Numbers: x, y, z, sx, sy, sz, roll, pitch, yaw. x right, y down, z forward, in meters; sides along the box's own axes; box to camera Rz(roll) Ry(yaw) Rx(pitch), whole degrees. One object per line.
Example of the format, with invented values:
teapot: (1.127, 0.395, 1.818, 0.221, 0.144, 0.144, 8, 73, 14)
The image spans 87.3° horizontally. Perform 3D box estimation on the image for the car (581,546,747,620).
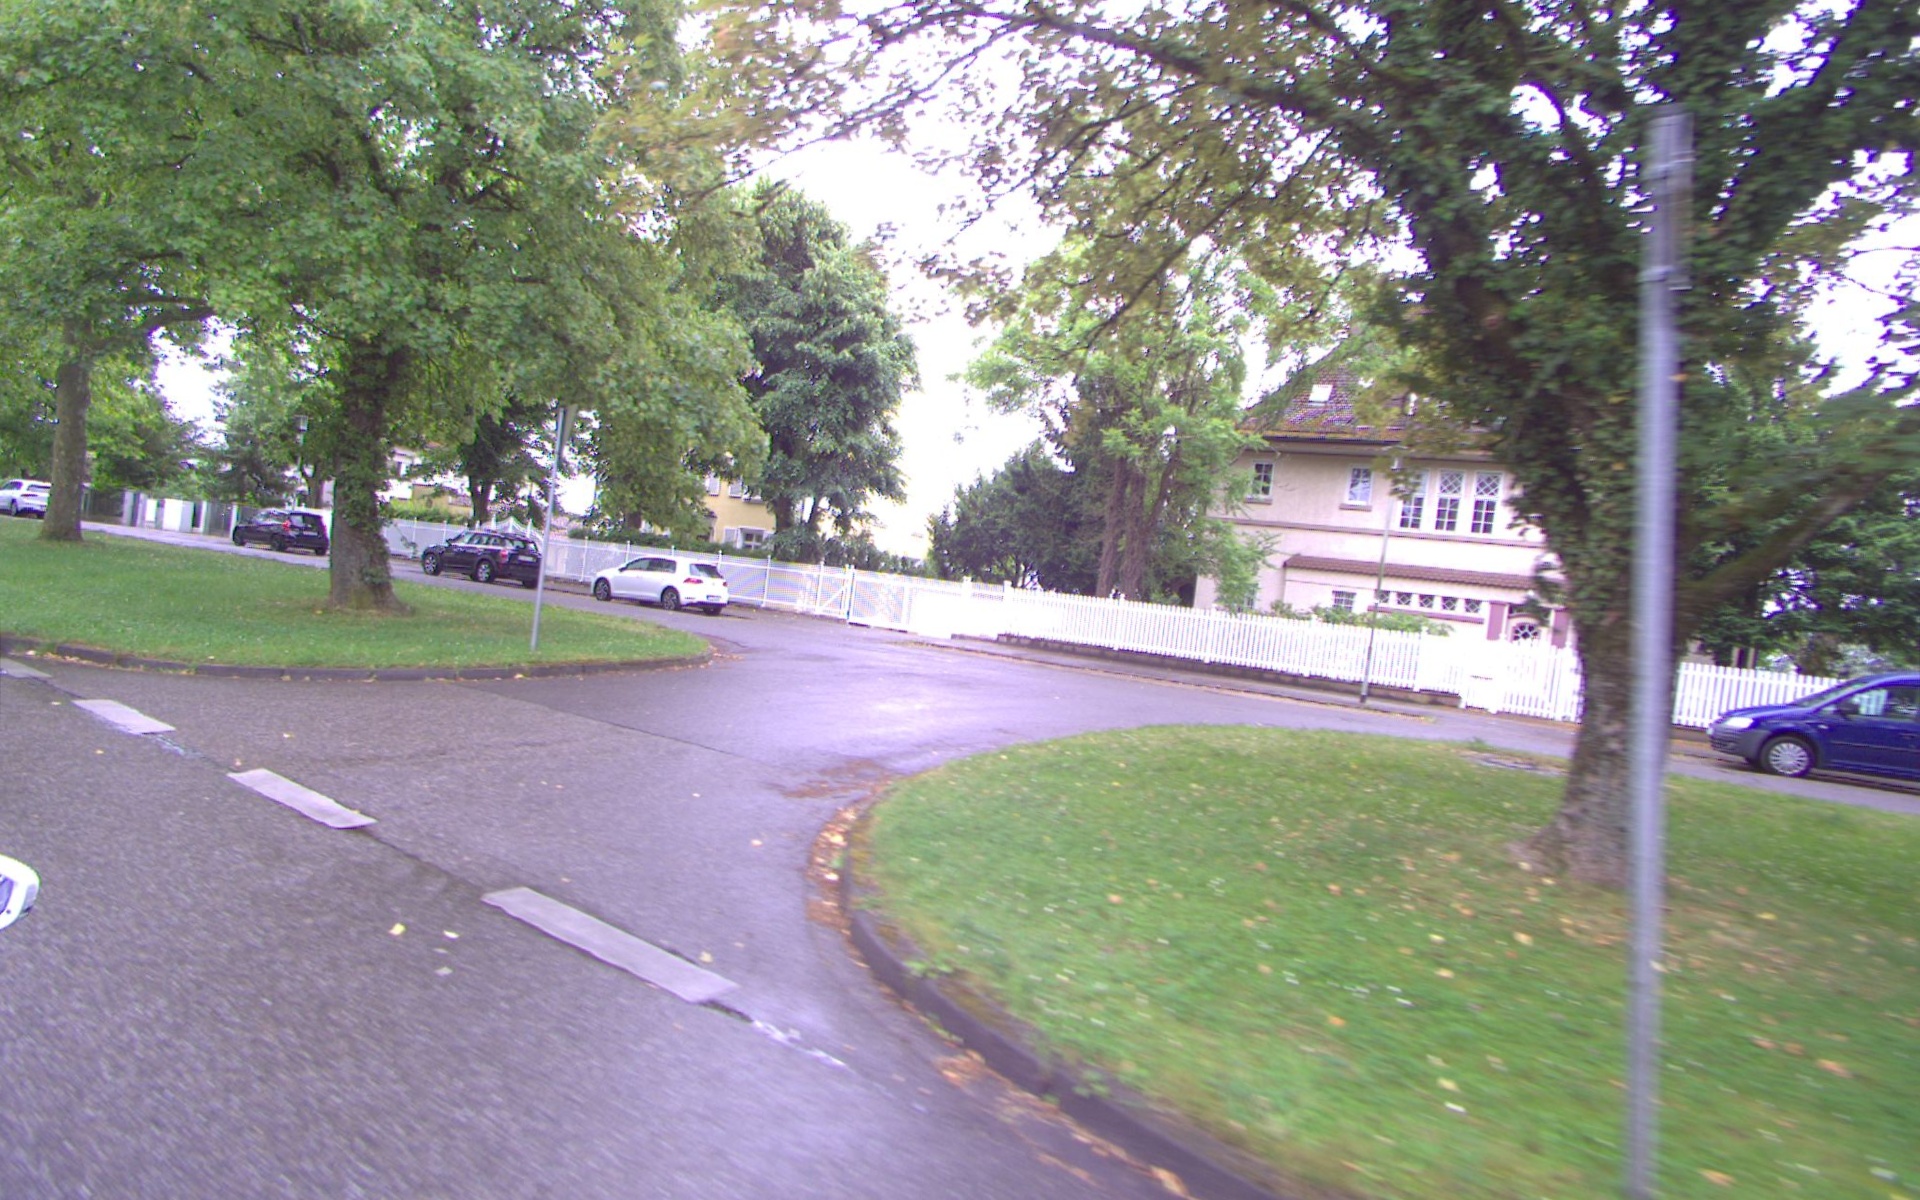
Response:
car: (-8.172, -0.462, 27.748, 4.053, 1.465, 1.999, 6, -2, 29)

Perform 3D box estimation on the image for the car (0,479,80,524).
car: (-37.853, -4.049, 40.866, 4.352, 1.490, 1.847, 6, 1, 31)

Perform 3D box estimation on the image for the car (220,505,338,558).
car: (-25.060, -2.538, 36.999, 4.282, 1.490, 1.762, 6, 1, 29)

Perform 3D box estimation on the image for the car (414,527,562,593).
car: (-14.558, -1.243, 31.031, 4.053, 1.488, 1.999, 6, -2, 29)

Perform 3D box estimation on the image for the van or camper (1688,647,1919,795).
van or camper: (14.181, 1.950, 15.235, 4.692, 1.829, 1.999, 6, -2, 27)
